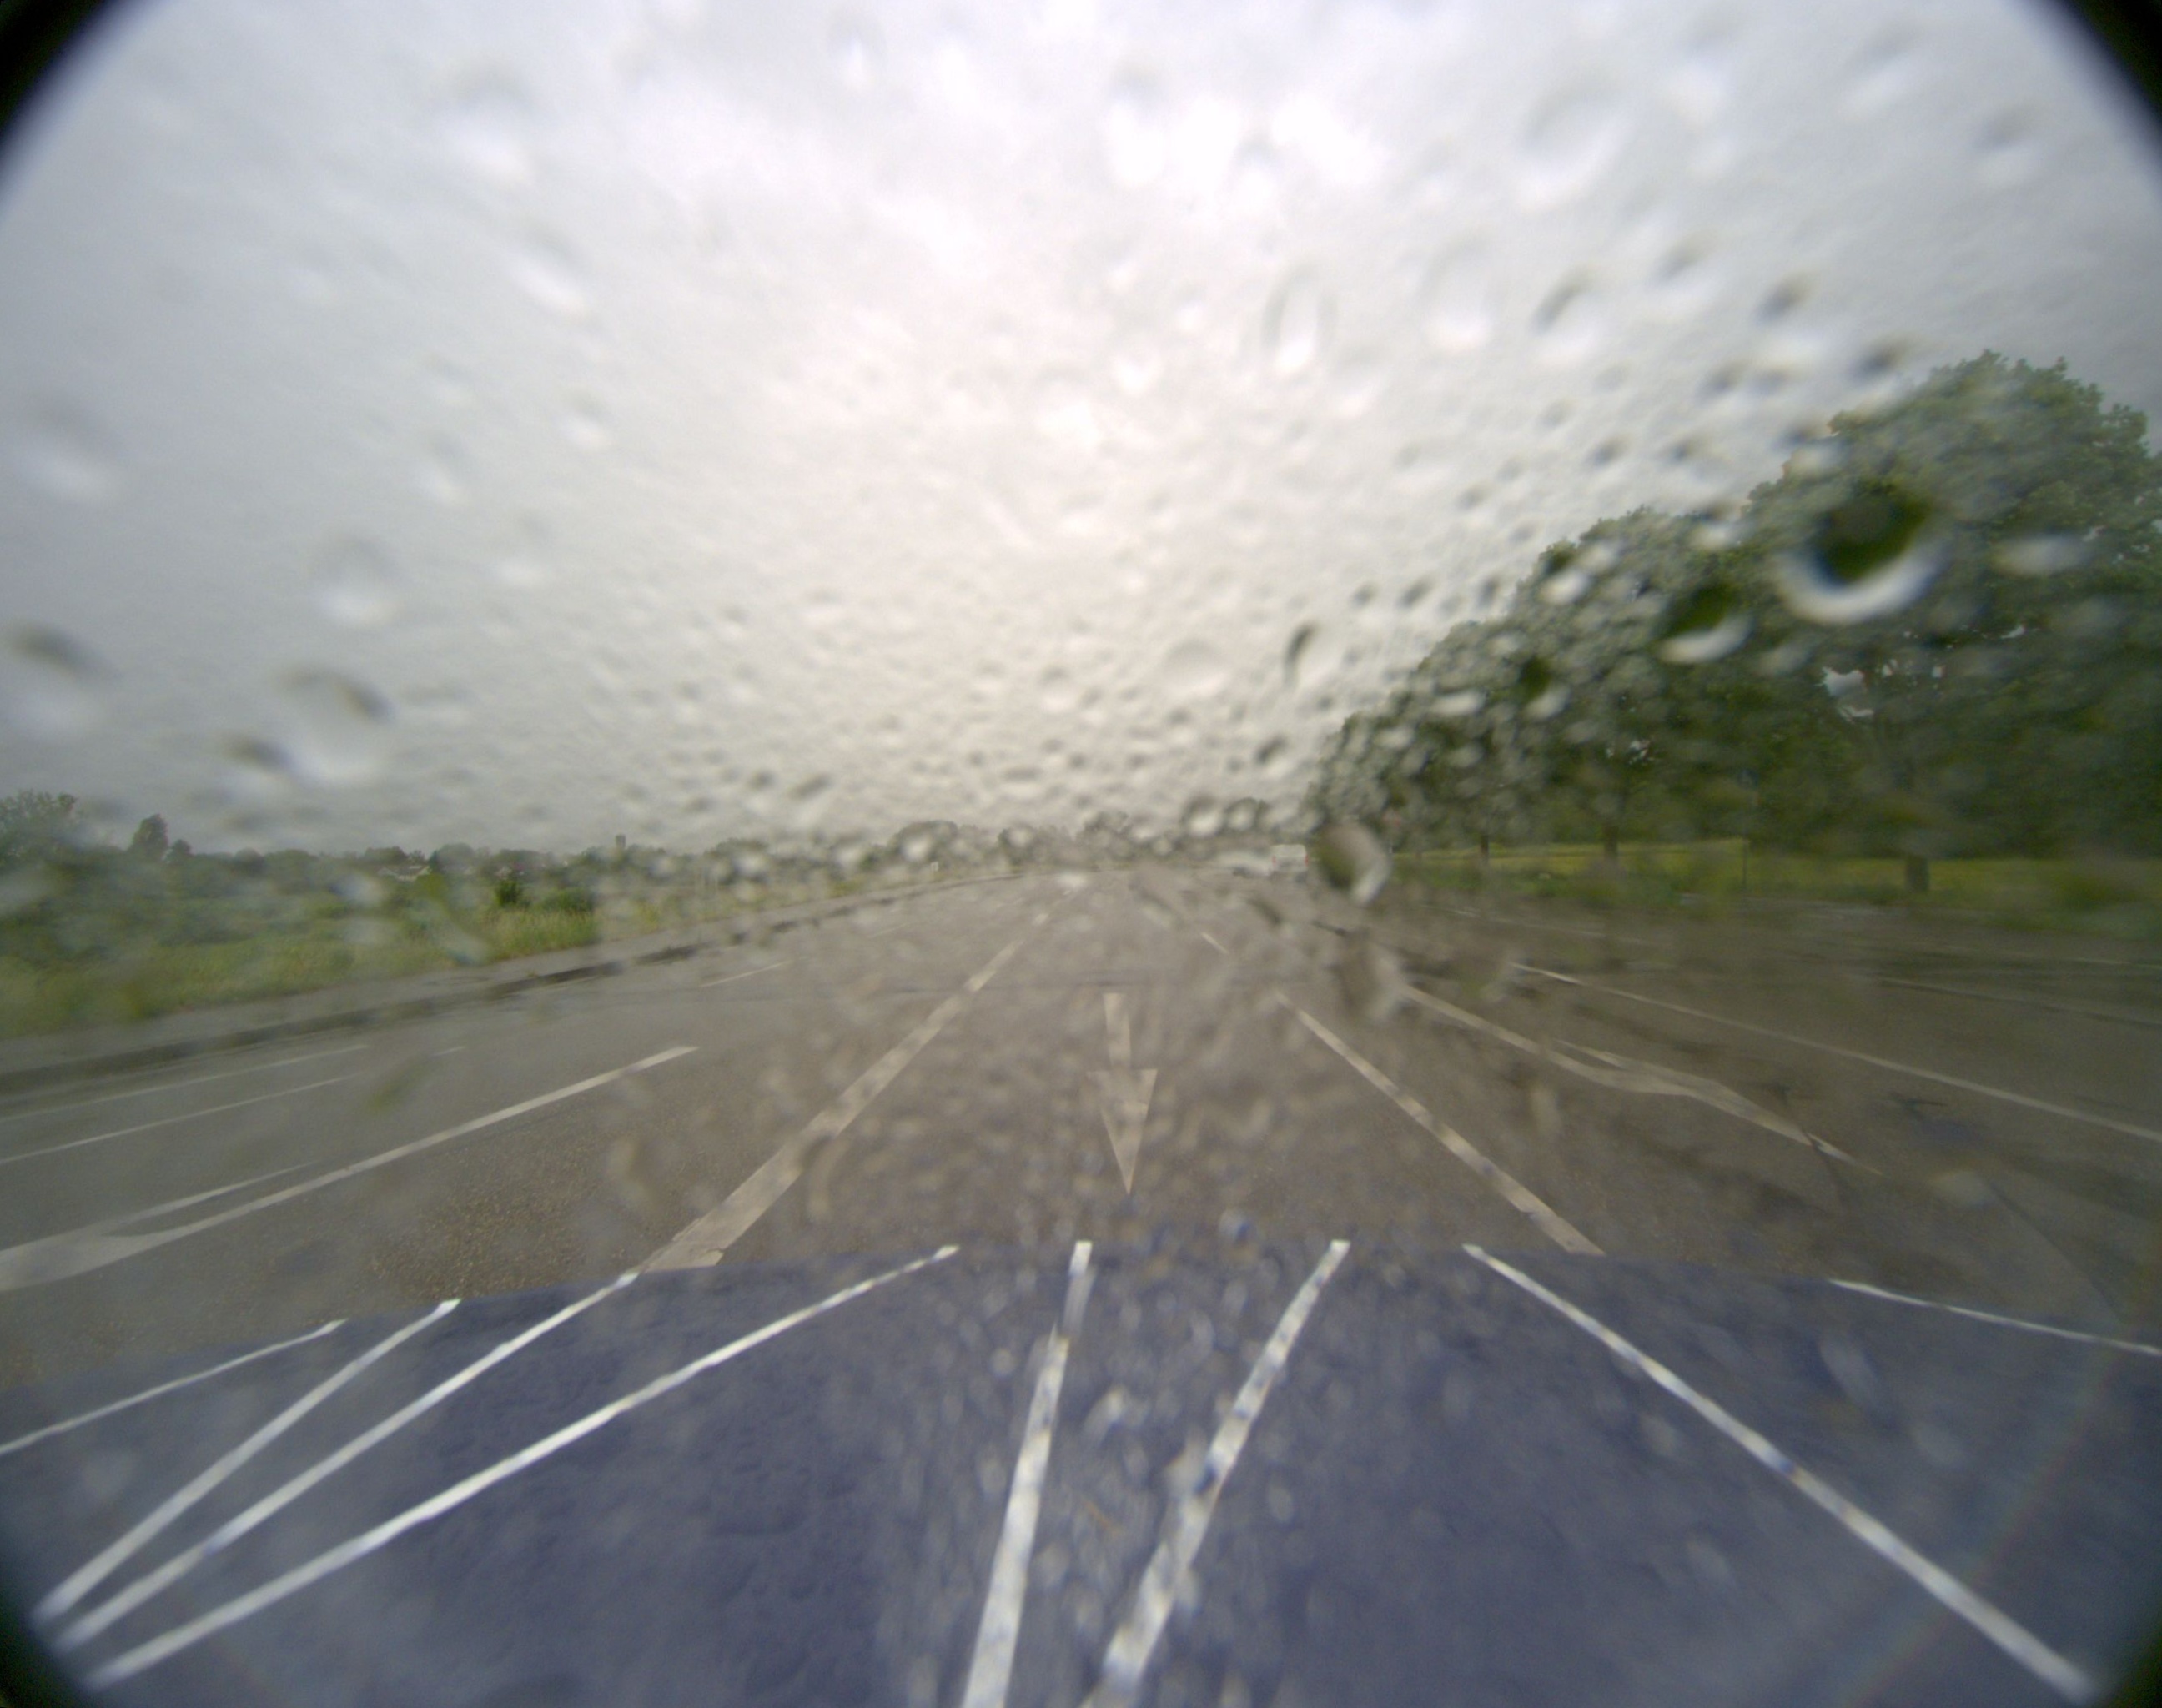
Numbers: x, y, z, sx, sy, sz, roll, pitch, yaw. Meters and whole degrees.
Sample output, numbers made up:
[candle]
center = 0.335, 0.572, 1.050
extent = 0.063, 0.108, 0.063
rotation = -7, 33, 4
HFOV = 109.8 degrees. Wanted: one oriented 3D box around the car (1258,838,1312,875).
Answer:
[car]
center = 11.356, 0.136, 42.653
extent = 2.111, 1.881, 4.793
rotation = -2, 0, 5
